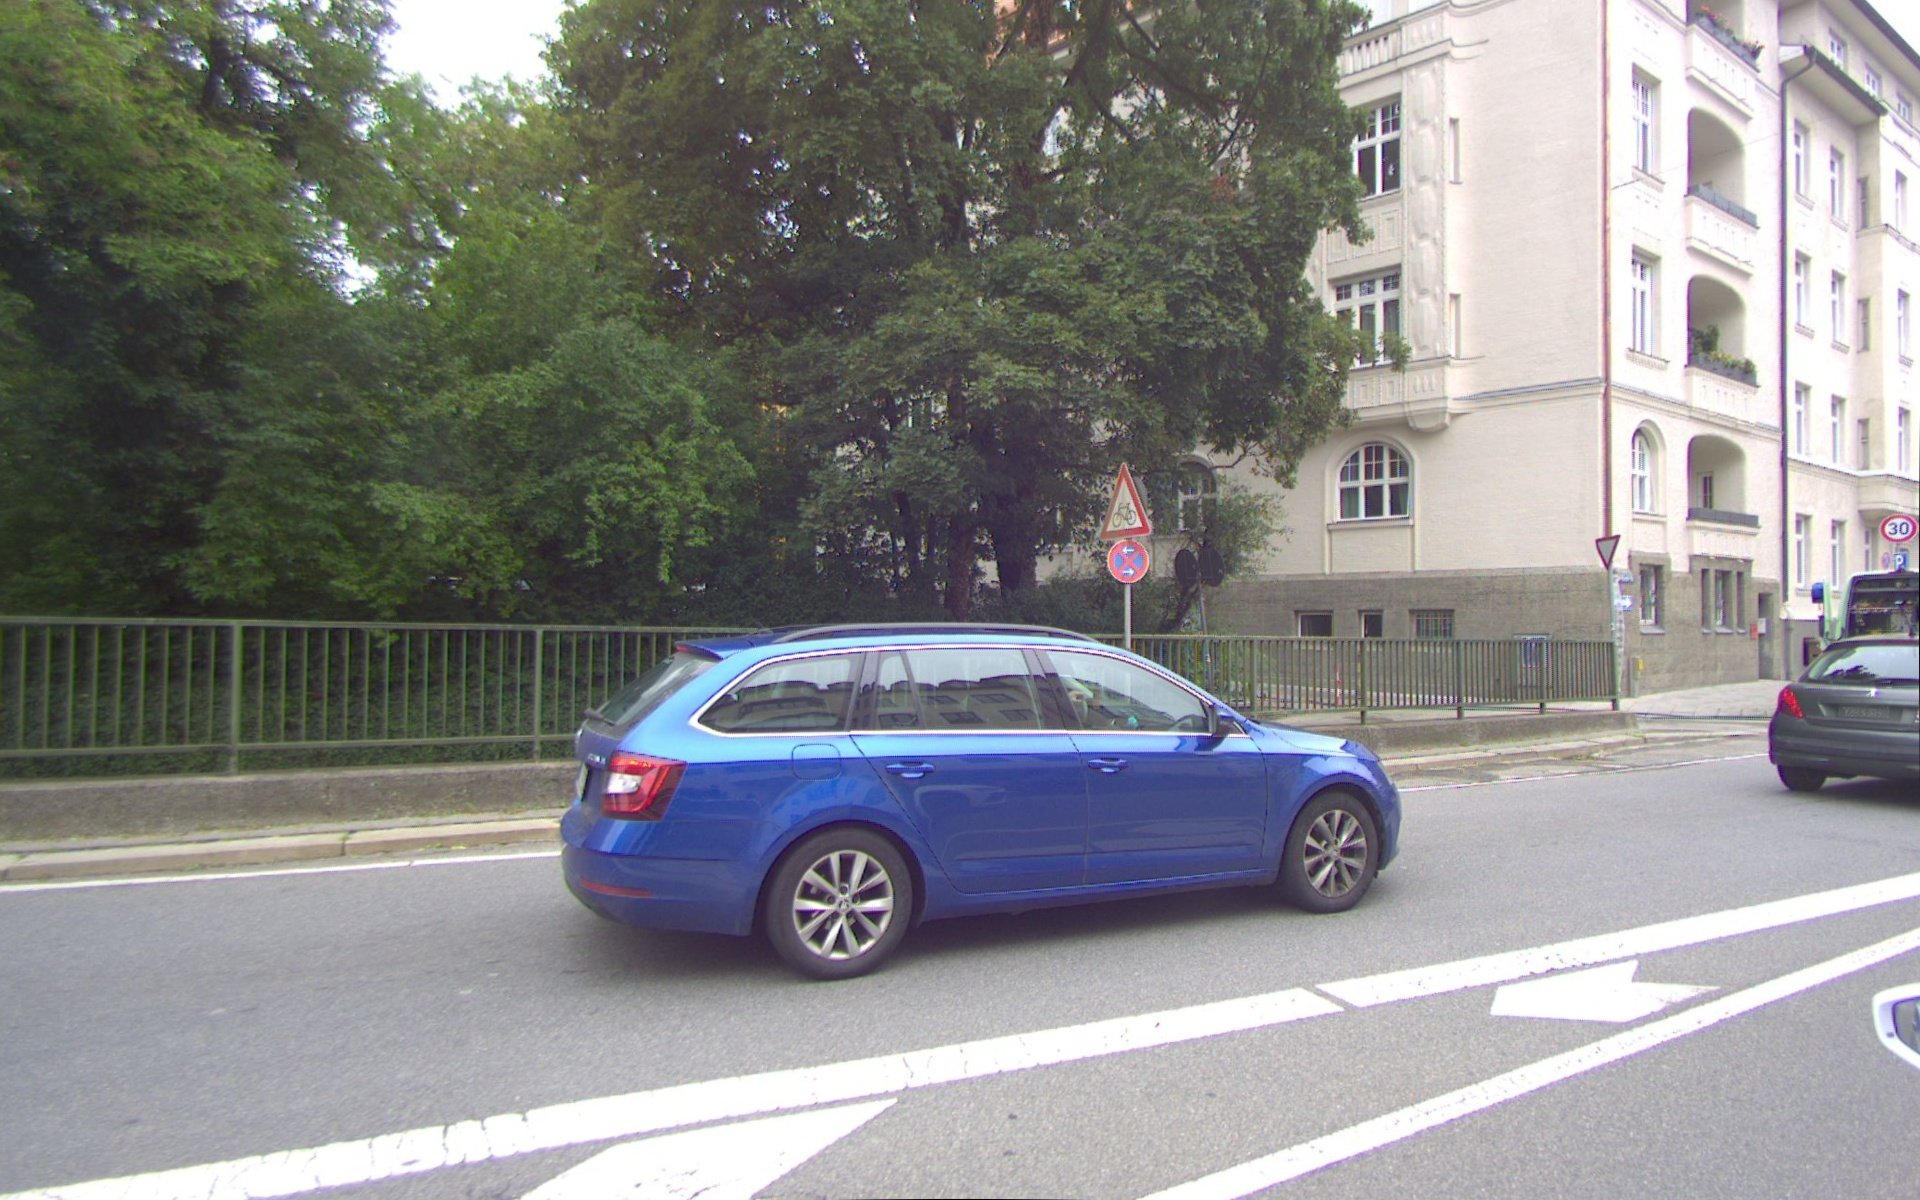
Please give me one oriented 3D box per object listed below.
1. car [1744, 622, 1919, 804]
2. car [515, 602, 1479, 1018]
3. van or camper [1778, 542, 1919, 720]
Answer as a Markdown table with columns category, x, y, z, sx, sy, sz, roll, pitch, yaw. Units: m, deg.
| category | x | y | z | sx | sy | sz | roll | pitch | yaw |
| --- | --- | --- | --- | --- | --- | --- | --- | --- | --- |
| car | 9.464 | 0.954 | 9.381 | 4.018 | 1.480 | 1.754 | 1 | -2 | -25 |
| car | 0.232 | 0.800 | 5.379 | 4.665 | 1.473 | 1.984 | 1 | -1 | -22 |
| van or camper | 17.800 | 0.516 | 18.389 | 6.117 | 2.878 | 2.586 | 0 | -1 | -32 |
